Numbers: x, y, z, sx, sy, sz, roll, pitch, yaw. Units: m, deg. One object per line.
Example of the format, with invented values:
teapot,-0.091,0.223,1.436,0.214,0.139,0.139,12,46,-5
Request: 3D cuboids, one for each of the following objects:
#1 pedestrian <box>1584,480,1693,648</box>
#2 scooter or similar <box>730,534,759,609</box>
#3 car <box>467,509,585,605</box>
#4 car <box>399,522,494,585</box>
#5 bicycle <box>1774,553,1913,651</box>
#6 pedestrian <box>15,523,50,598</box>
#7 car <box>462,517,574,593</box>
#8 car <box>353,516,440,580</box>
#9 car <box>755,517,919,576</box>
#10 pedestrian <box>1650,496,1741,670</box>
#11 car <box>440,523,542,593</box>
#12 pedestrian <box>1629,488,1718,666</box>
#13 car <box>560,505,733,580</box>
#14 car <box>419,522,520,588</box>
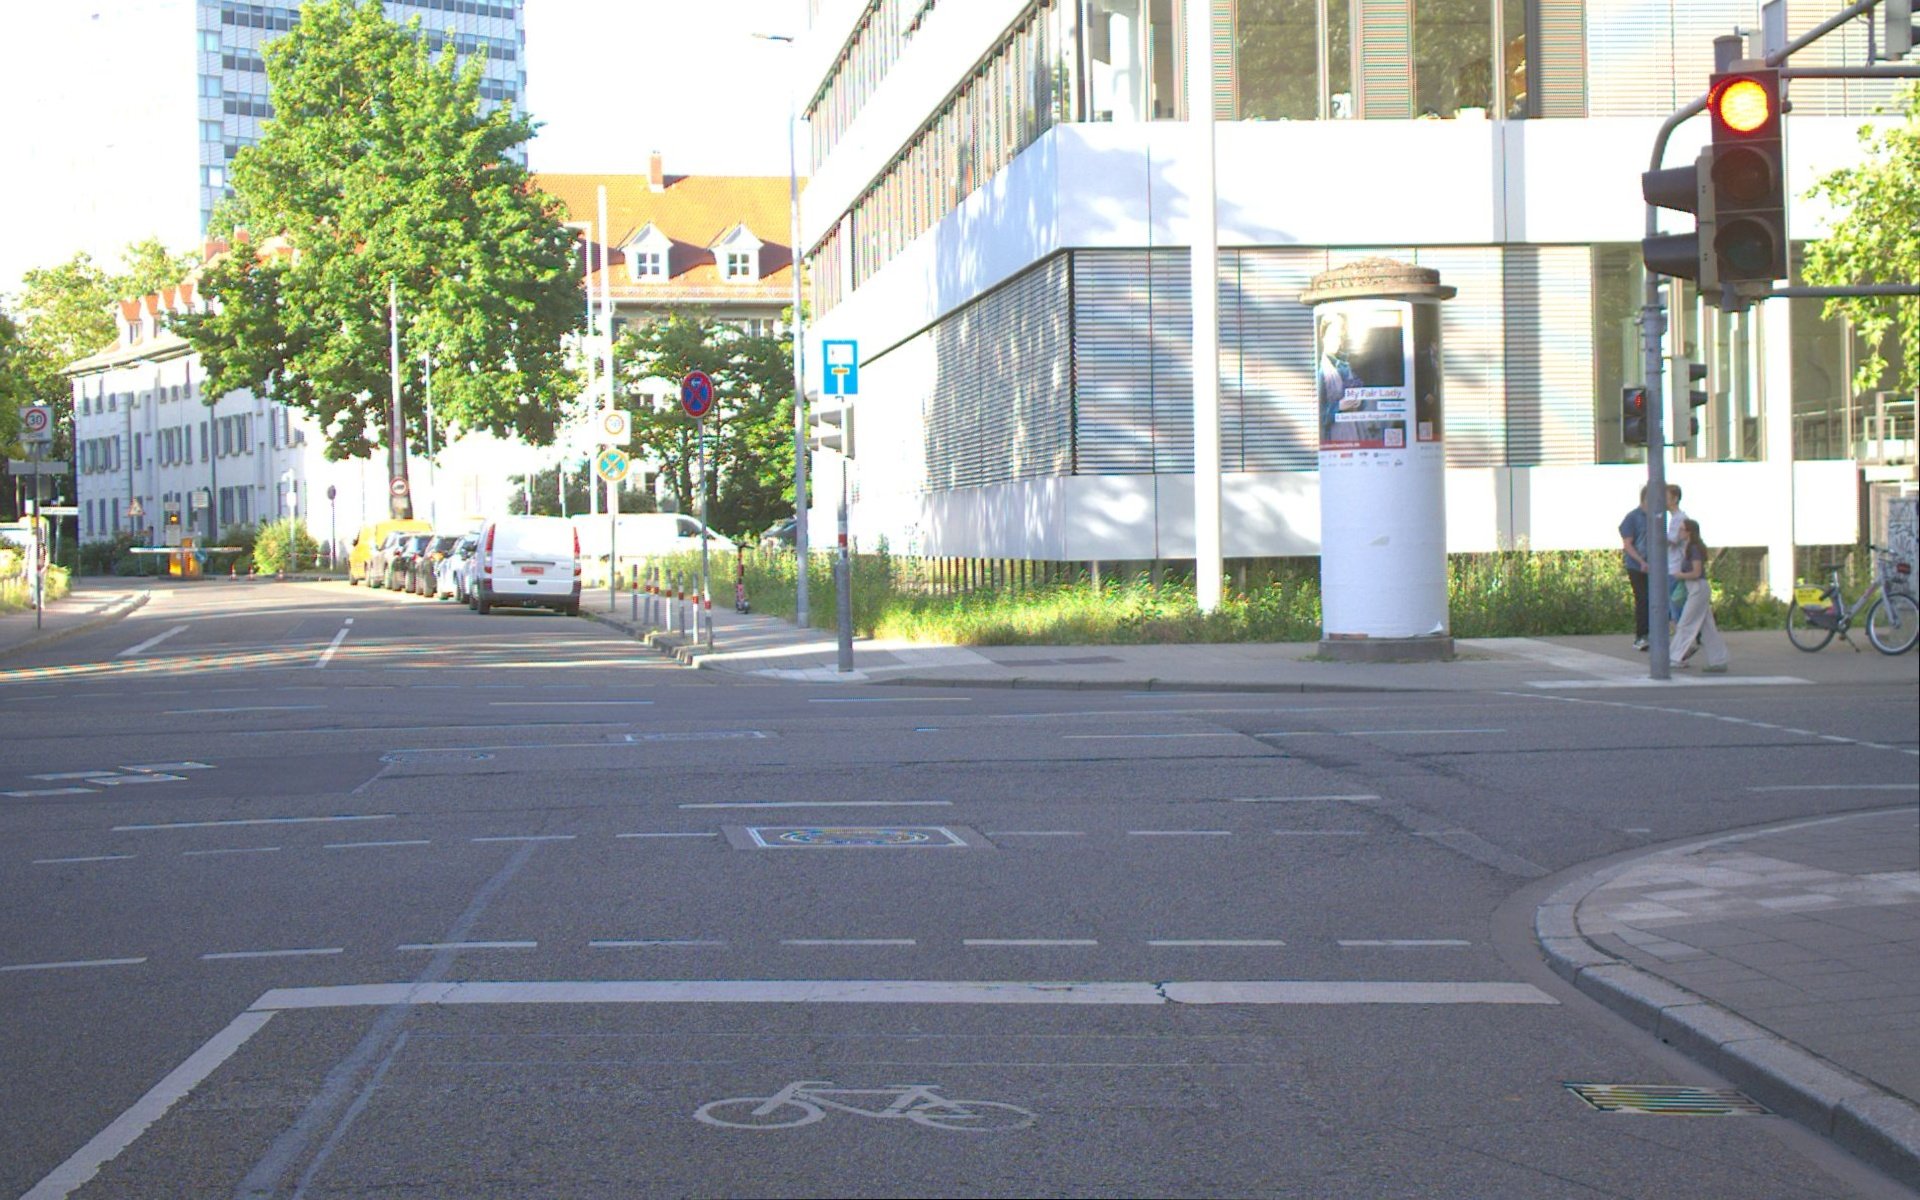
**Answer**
pedestrian,7.386,-0.394,37.398,0.916,1.809,0.761,1,0,34
scooter or similar,-3.656,-0.490,58.291,0.437,1.252,1.420,-1,1,-4
car,-8.216,-0.814,64.822,1.993,1.719,4.653,1,1,-10
car,-12.873,-1.162,85.979,1.993,1.493,4.653,1,1,-13
bicycle,9.286,0.019,36.146,0.378,1.005,1.432,-2,2,-42
pedestrian,-19.874,-0.851,73.653,0.699,1.581,0.637,1,0,-16
car,-9.166,-0.932,71.036,1.993,1.493,4.653,1,1,-11
car,-15.731,-1.449,95.835,1.993,1.719,4.653,1,1,-14
car,-3.747,-1.631,104.774,4.635,1.719,2.001,1,0,-16
pedestrian,7.345,-0.168,34.336,0.765,1.713,0.648,1,0,2
car,-10.499,-0.933,76.808,1.993,1.493,4.653,1,1,-11
pedestrian,7.257,-0.236,34.980,0.765,1.789,0.648,1,0,2
car,-9.394,-1.702,102.931,4.791,2.151,2.001,1,0,-17
car,-11.621,-1.058,81.255,1.993,1.493,4.288,1,1,-13
